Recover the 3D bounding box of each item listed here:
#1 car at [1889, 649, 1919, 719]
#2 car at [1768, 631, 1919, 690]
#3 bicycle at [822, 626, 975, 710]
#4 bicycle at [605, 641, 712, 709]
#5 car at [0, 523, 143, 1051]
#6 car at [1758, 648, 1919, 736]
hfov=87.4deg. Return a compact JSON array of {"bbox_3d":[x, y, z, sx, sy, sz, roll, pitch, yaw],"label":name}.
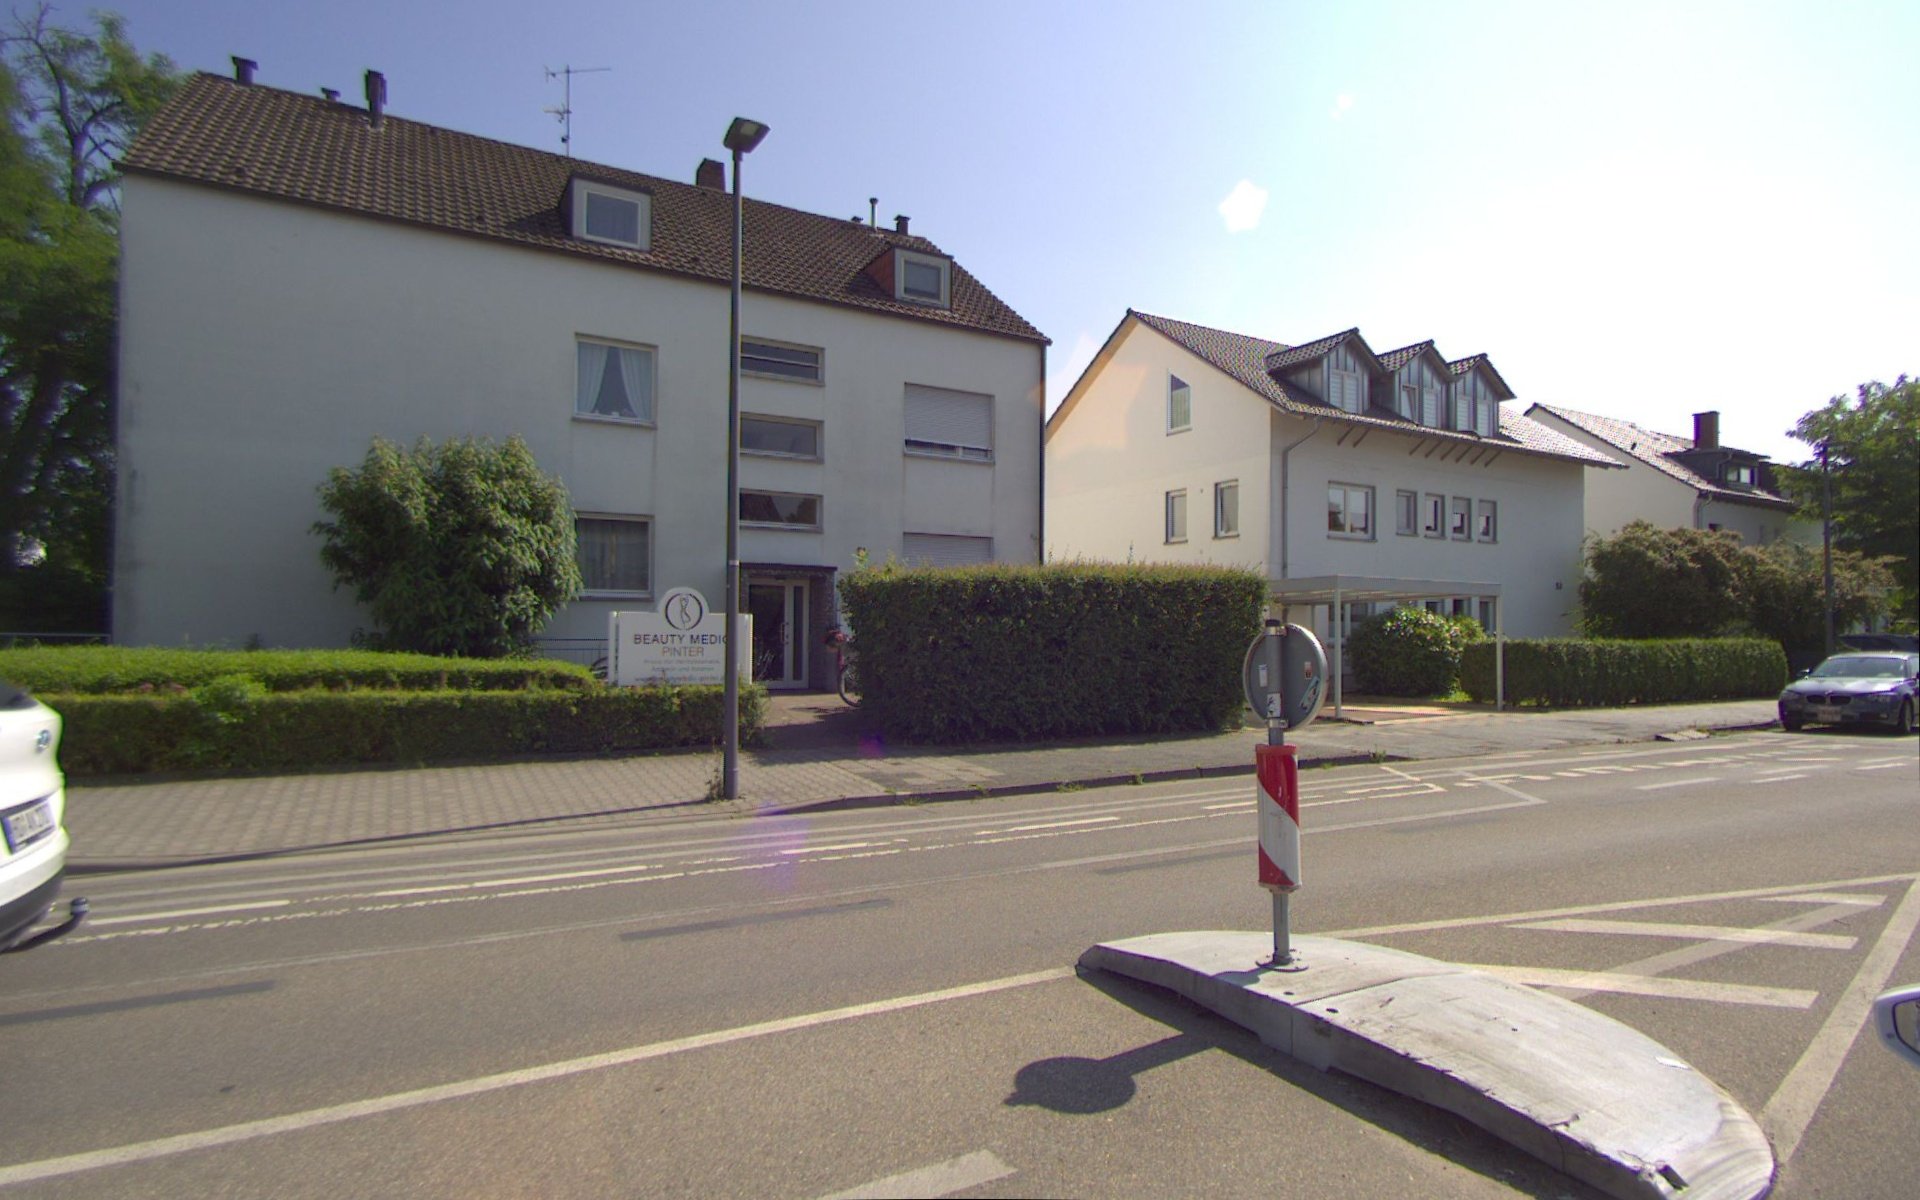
[{"bbox_3d":[22.148,1.822,21.763,4.060,1.459,1.778,2,-3,-29],"label":"car"},{"bbox_3d":[29.689,1.957,33.401,1.976,1.782,3.970,2,-2,-29],"label":"car"},{"bbox_3d":[-0.962,1.001,15.281,2.395,1.121,0.536,0,4,30],"label":"bicycle"},{"bbox_3d":[-4.197,1.038,14.012,1.357,0.885,0.331,3,2,-36],"label":"bicycle"},{"bbox_3d":[-5.356,0.548,2.782,4.453,1.688,1.906,3,-4,-30],"label":"car"},{"bbox_3d":[16.682,1.639,18.603,4.111,1.459,1.775,3,-4,-33],"label":"car"}]
